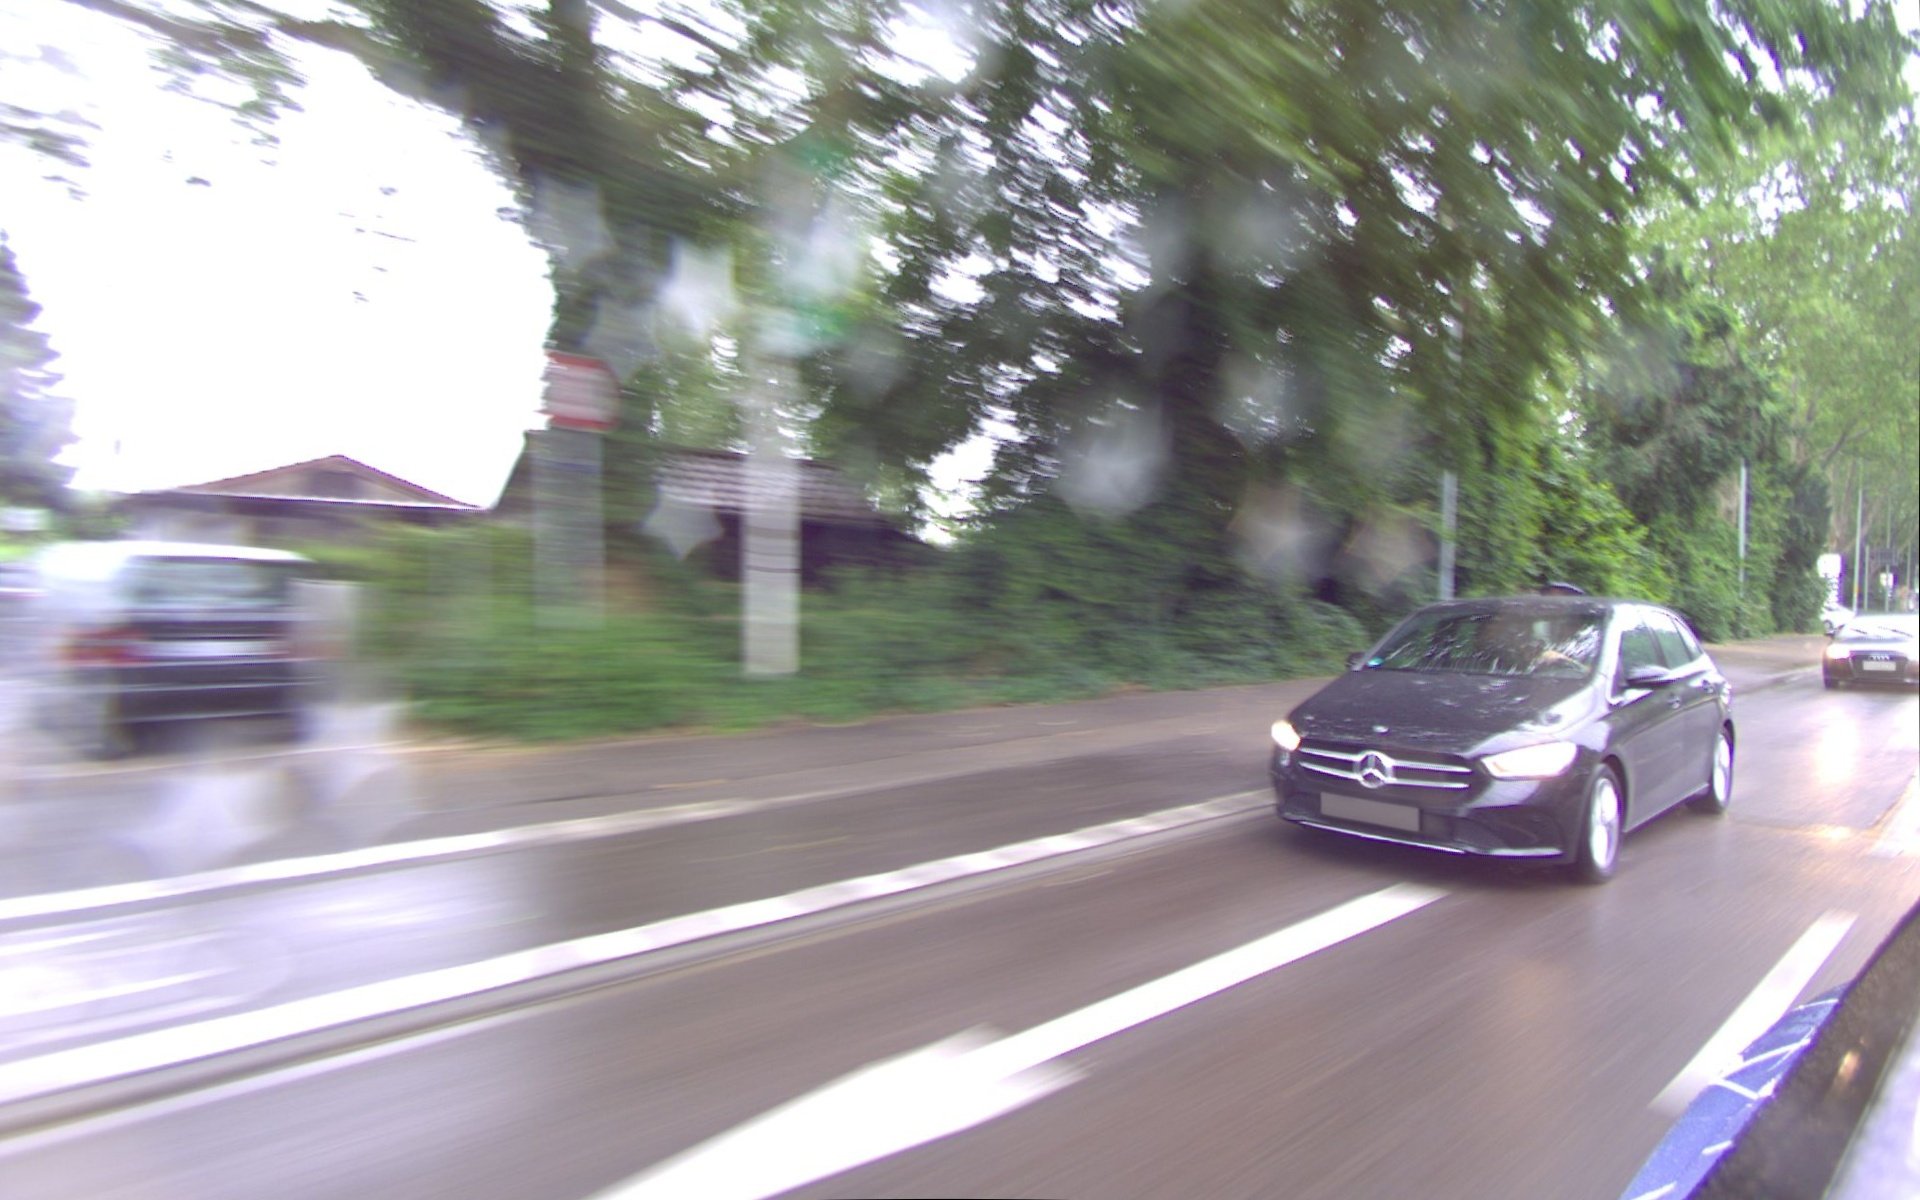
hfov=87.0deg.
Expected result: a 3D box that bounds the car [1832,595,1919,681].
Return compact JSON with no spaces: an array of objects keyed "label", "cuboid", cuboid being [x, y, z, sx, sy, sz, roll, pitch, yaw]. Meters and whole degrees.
[{"label":"car","cuboid":[17.676,0.653,18.877,3.717,1.402,1.640,-2,1,-42]}]

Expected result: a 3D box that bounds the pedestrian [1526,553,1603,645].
[{"label":"pedestrian","cuboid":[11.739,-0.019,19.652,1.121,1.724,0.968,-1,0,-42]}]

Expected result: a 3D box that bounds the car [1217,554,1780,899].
[{"label":"car","cuboid":[3.749,0.529,6.664,4.345,1.549,1.819,-1,0,-41]}]

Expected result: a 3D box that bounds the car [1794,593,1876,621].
[{"label":"car","cuboid":[47.572,0.344,55.085,1.580,1.450,3.551,-1,0,6]}]

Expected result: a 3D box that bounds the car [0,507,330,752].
[{"label":"car","cuboid":[-6.798,0.181,8.440,3.375,1.629,1.635,1,0,40]}]

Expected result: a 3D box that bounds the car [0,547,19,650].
[{"label":"car","cuboid":[-15.387,-0.050,15.249,1.699,1.477,3.630,1,0,-44]}]
